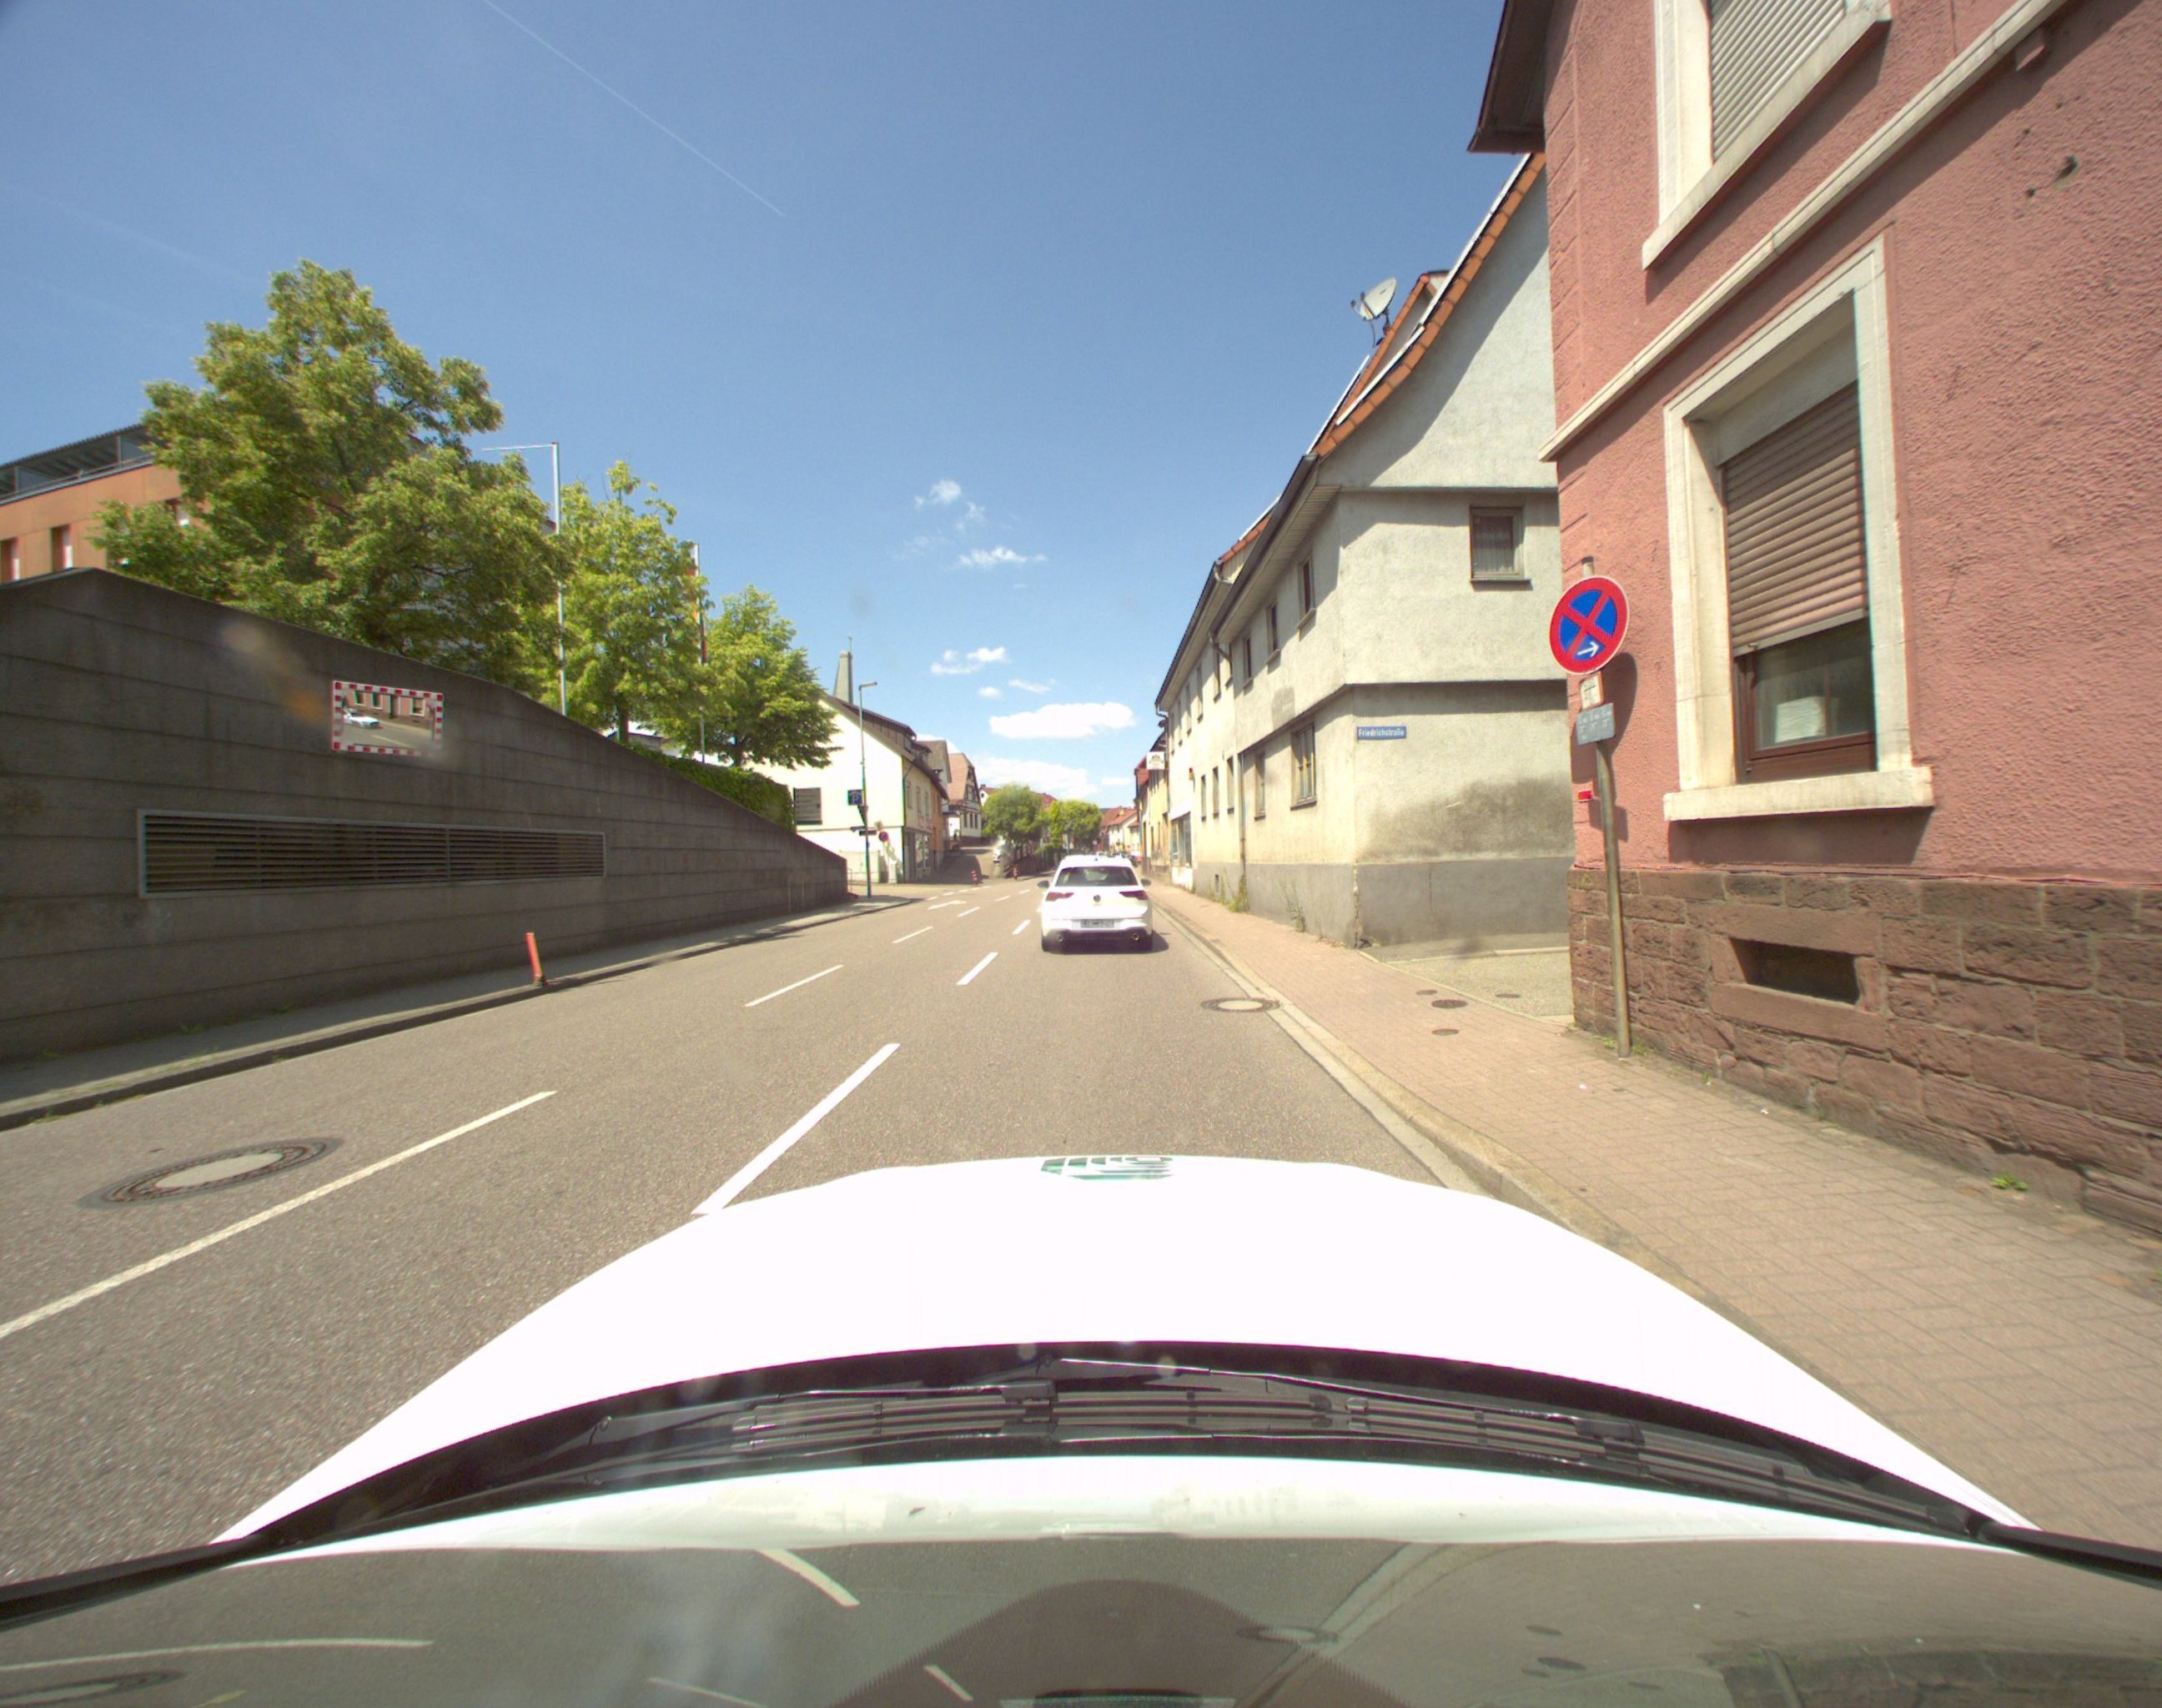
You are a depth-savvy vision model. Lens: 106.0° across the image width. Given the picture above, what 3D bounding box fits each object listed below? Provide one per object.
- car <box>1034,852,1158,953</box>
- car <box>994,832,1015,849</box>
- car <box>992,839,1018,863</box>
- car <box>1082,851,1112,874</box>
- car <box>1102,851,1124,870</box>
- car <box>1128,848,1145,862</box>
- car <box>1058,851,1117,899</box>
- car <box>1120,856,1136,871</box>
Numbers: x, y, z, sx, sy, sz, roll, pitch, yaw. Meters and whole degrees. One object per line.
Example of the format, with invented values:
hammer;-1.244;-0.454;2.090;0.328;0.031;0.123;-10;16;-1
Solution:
car;0.323;0.721;14.038;1.800;1.467;4.003;-1;0;3
car;-7.648;-1.374;81.703;1.571;1.361;3.858;-3;6;1
car;-6.464;-0.285;69.570;1.688;1.542;3.858;-3;6;1
car;1.107;0.560;55.296;1.800;1.467;4.004;-1;0;4
car;2.884;0.584;72.579;1.768;1.538;4.004;-3;0;3
car;7.613;0.171;111.926;1.764;1.765;4.012;-3;0;11
car;0.156;0.659;27.731;1.803;1.467;3.997;-1;0;-2
car;5.556;1.100;95.955;1.767;1.538;4.006;-3;0;5
